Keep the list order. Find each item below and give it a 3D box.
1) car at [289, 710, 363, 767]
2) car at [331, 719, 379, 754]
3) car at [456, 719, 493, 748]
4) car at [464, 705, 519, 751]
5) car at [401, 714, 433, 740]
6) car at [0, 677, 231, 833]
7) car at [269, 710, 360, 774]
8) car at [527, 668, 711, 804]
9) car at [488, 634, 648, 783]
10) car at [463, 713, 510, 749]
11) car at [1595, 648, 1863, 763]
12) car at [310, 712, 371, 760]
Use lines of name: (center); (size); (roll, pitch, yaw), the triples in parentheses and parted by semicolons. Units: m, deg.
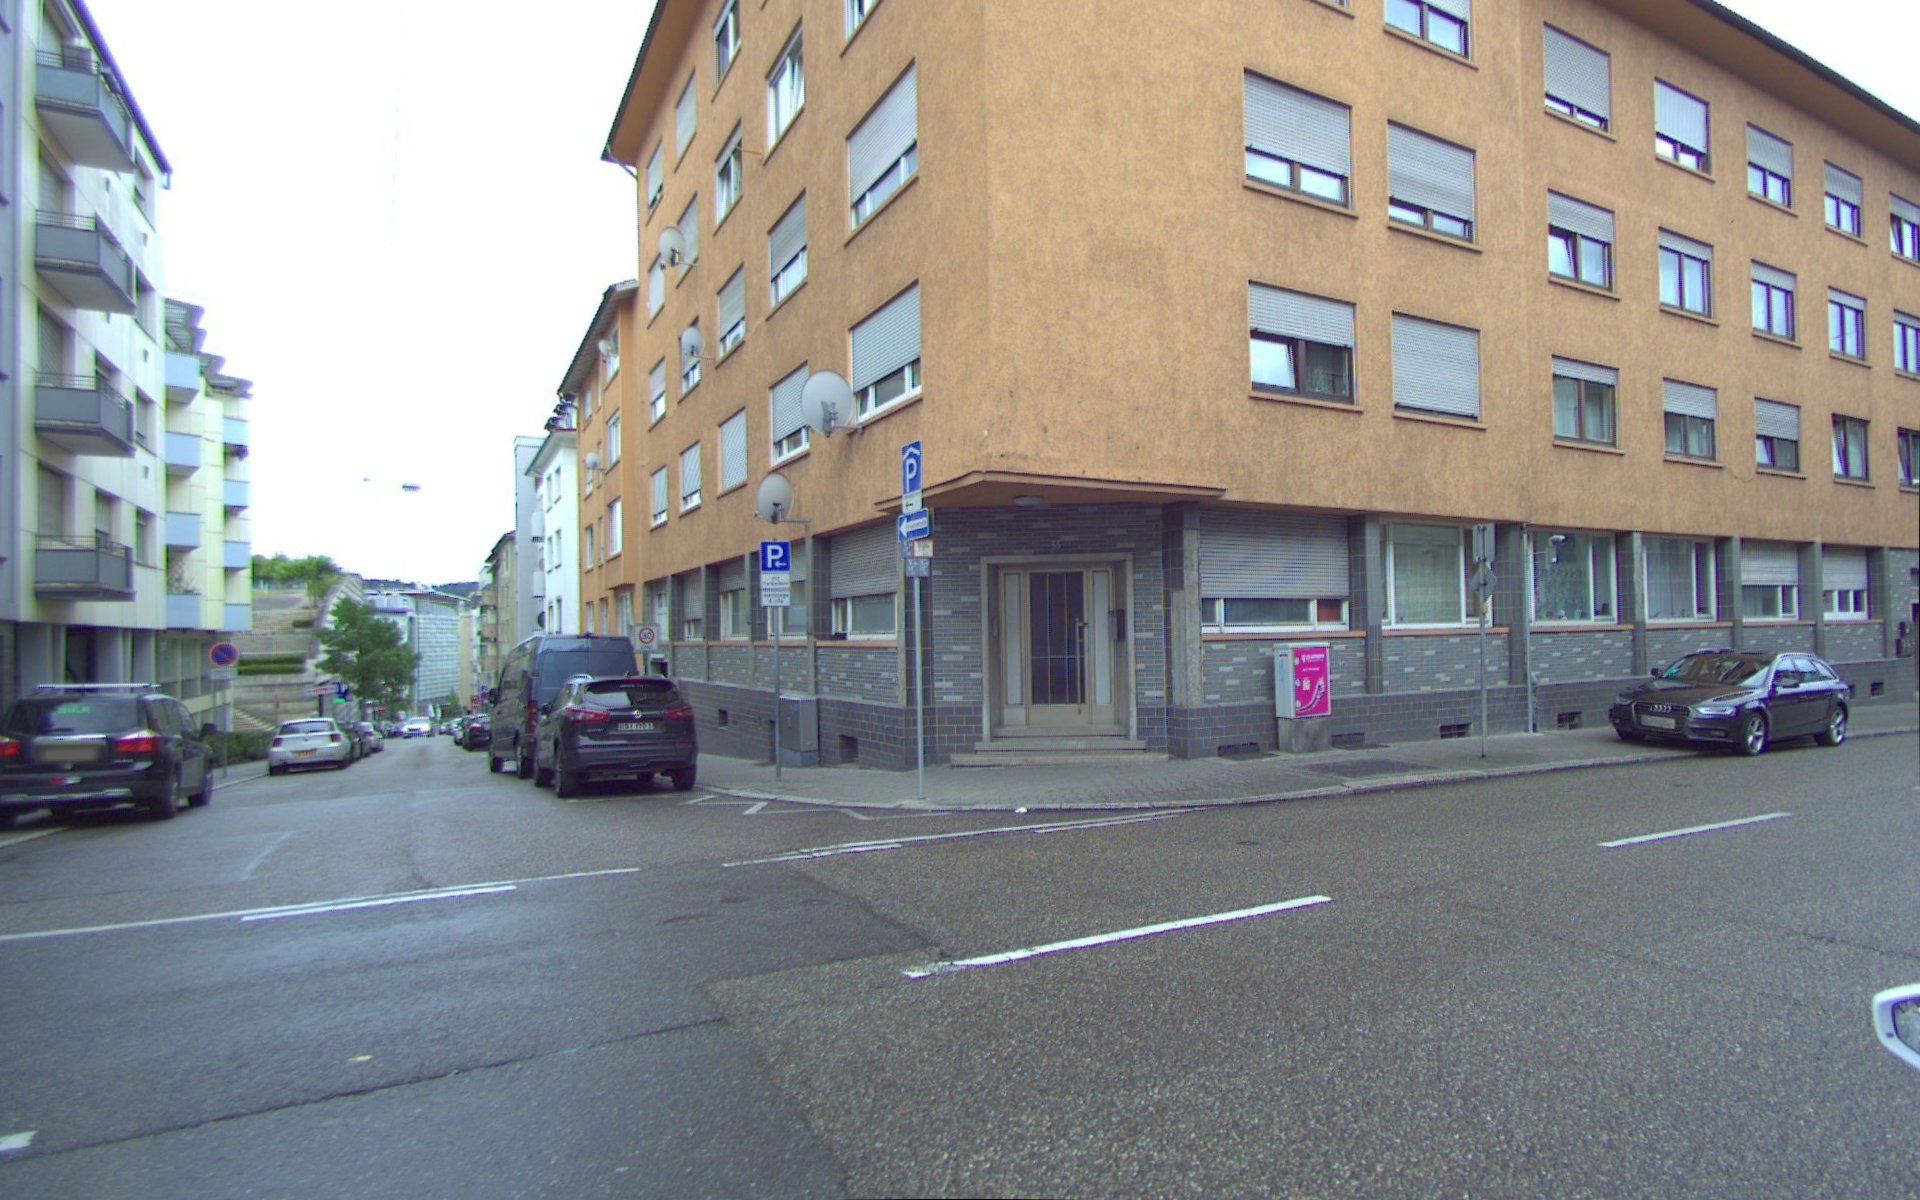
car: (-20.315, 4.431, 32.322); (1.727, 1.634, 3.973); (1, -7, -29)
car: (-28.339, 6.418, 47.152); (1.727, 1.483, 3.974); (1, -8, -29)
car: (-26.059, 7.148, 53.900); (1.580, 1.422, 4.027); (1, -7, -29)
car: (-19.145, 5.238, 40.963); (1.796, 1.696, 4.027); (1, -7, -29)
car: (-38.329, 8.989, 70.909); (1.908, 1.696, 4.027); (1, -7, -29)
car: (-11.229, 2.020, 13.483); (1.773, 1.708, 4.216); (1, -7, -29)
car: (-17.898, 3.922, 27.997); (1.818, 1.566, 3.973); (1, -7, -29)
car: (-5.023, 1.922, 14.417); (1.820, 1.596, 4.128); (1, -7, -29)
car: (-7.984, 2.156, 20.030); (2.223, 2.492, 6.018); (1, -7, -29)
car: (-21.708, 5.991, 45.996); (1.701, 1.513, 4.027); (1, -7, -29)
car: (12.116, 1.542, 15.764); (4.474, 1.457, 1.786); (1, 0, -30)
car: (-23.557, 5.180, 38.307); (1.727, 1.634, 3.974); (1, -7, -29)
